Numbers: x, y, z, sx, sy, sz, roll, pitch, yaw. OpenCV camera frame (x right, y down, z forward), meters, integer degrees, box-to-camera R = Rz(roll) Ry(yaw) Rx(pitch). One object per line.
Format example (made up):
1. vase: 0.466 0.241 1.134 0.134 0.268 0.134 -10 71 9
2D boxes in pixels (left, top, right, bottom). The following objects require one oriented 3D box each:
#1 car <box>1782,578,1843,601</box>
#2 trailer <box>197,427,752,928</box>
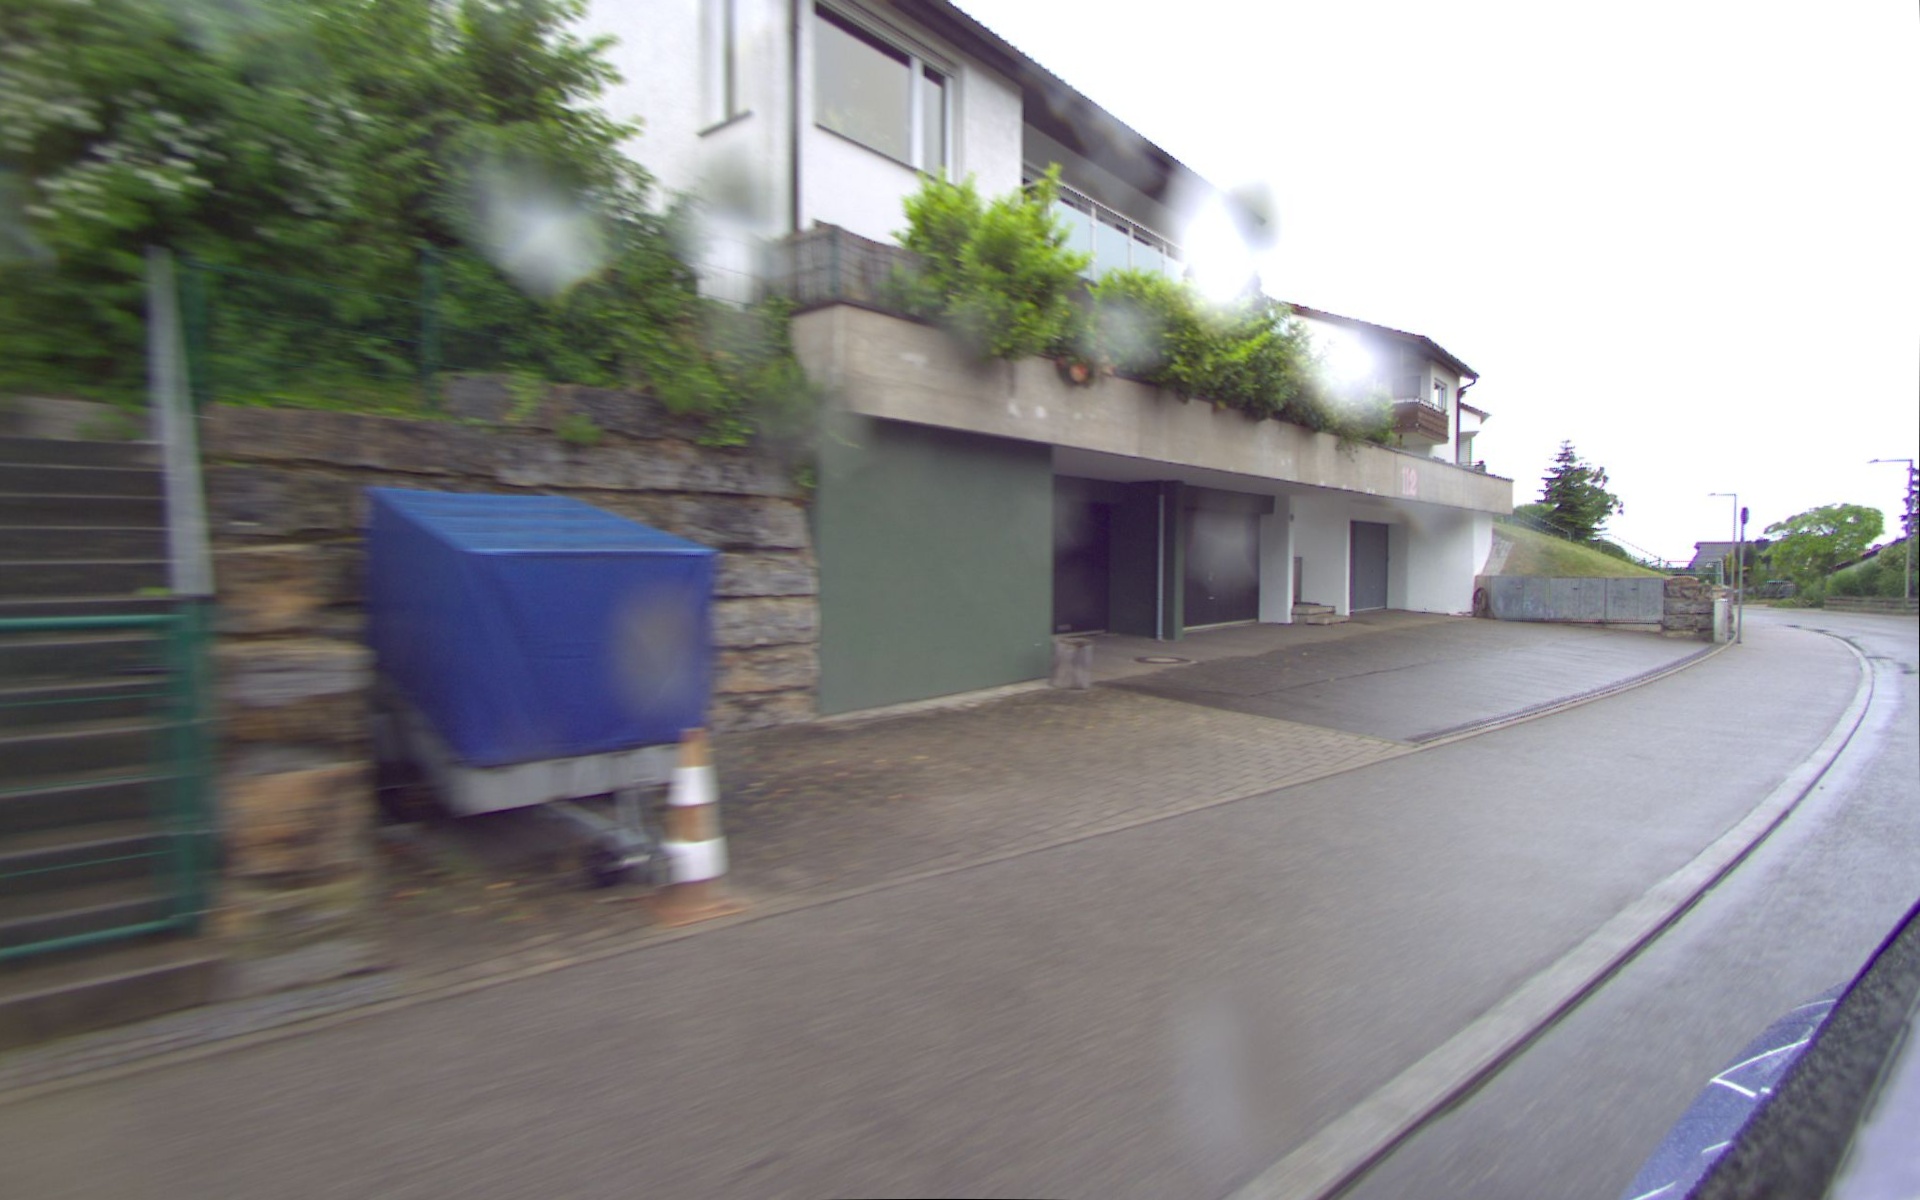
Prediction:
1. car: 58.304 -0.723 69.243 1.429 1.499 3.035 0 1 -42
2. trailer: -2.517 0.234 5.114 1.966 1.769 2.358 0 2 -42
